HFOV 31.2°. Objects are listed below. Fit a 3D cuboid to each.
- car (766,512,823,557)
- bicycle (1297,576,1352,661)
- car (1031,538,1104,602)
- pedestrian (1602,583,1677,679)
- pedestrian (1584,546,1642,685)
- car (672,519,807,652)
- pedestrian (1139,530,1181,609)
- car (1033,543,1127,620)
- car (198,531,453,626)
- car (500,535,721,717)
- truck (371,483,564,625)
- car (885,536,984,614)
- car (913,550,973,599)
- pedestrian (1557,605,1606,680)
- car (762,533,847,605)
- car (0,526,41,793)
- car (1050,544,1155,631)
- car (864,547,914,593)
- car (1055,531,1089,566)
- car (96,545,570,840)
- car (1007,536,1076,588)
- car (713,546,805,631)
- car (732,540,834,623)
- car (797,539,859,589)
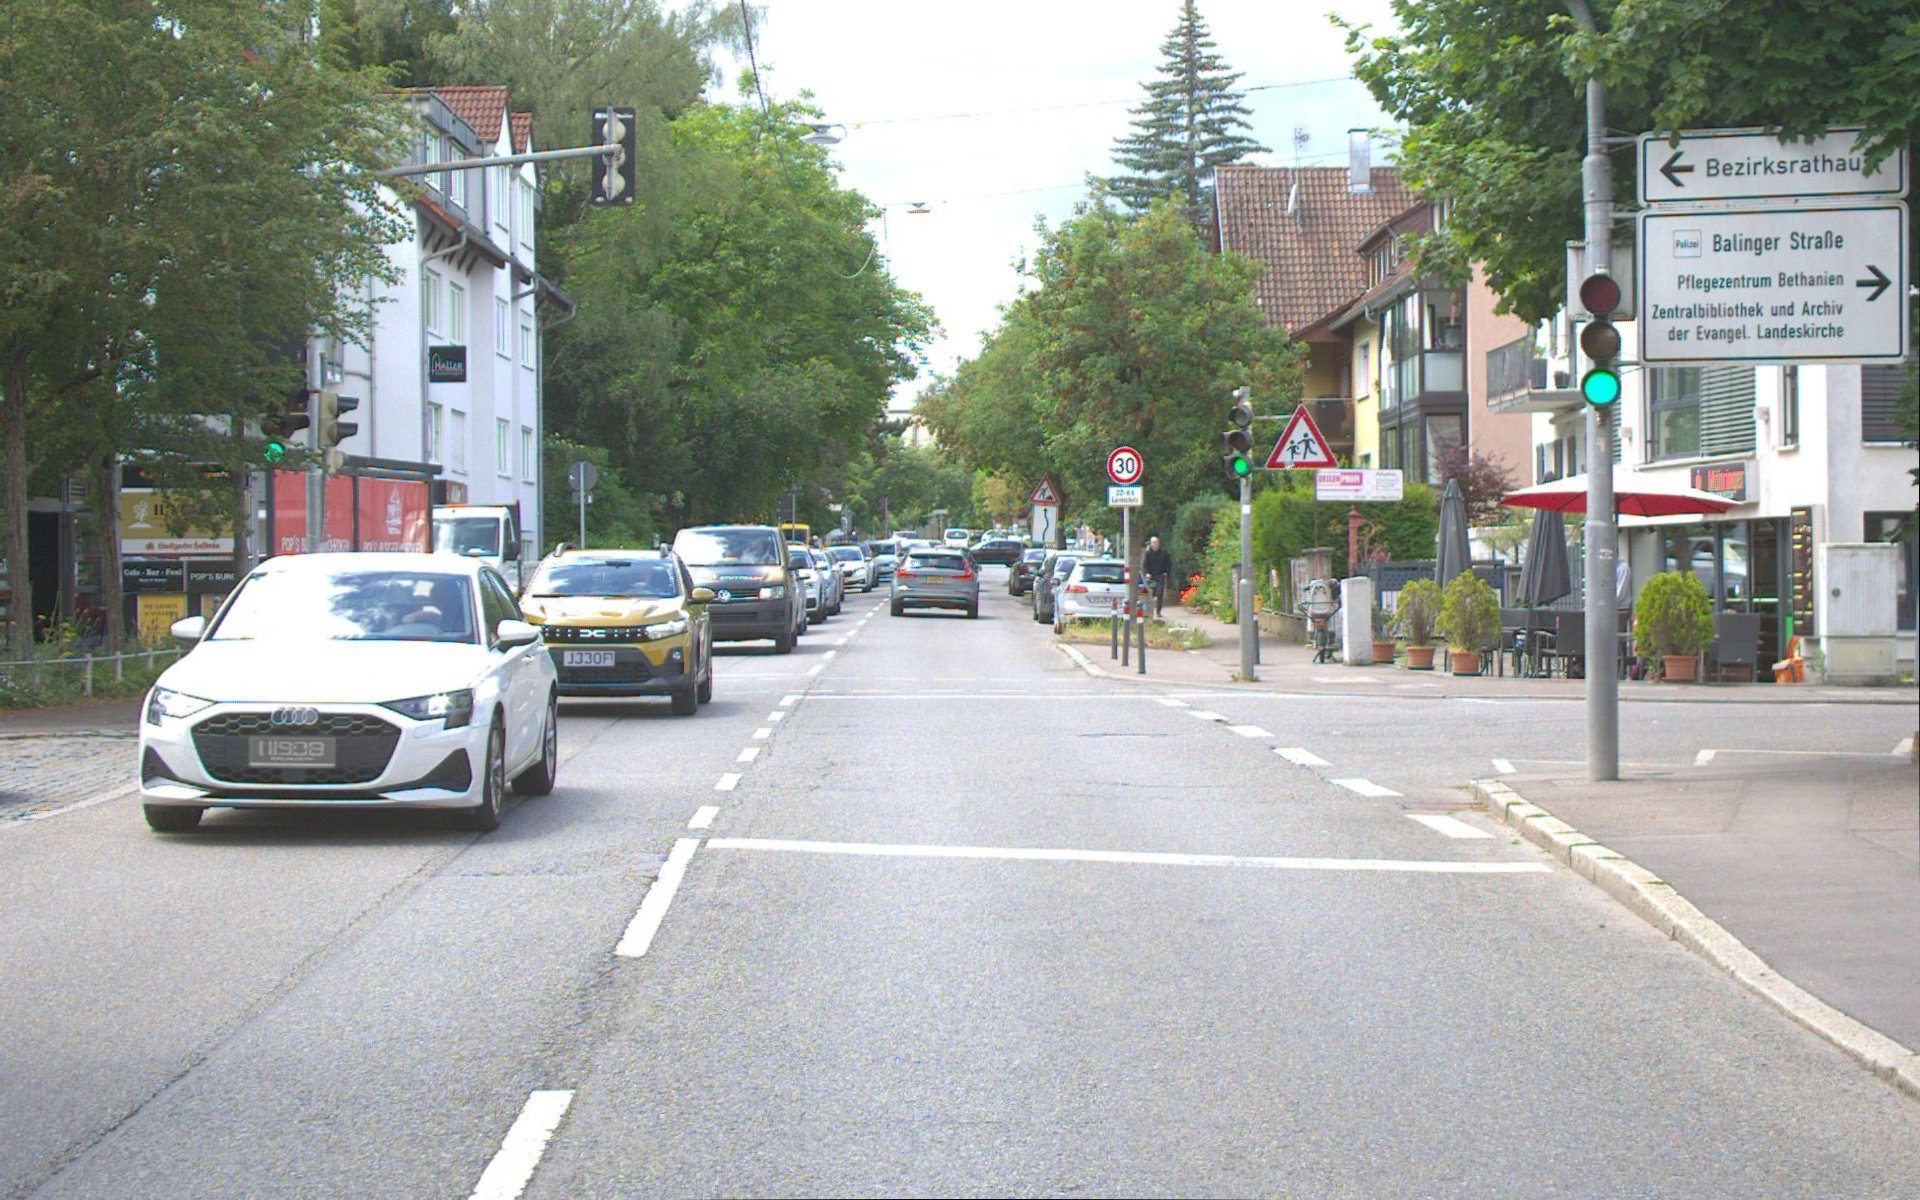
[{"bbox_3d":[-7.523,-2.970,157.047,2.146,1.974,4.930,0,0,3],"label":"car"},{"bbox_3d":[5.057,0.245,47.824,0.721,1.146,2.213,0,0,5],"label":"bicycle"},{"bbox_3d":[2.589,-0.742,83.390,1.621,1.502,3.779,0,1,0],"label":"car"},{"bbox_3d":[7.736,0.349,39.137,0.566,1.085,0.634,0,0,-25],"label":"pedestrian"},{"bbox_3d":[8.305,0.197,43.743,0.427,1.756,0.676,0,0,-21],"label":"pedestrian"},{"bbox_3d":[-3.281,-0.255,51.880,1.877,1.906,4.752,0,1,-2],"label":"car"},{"bbox_3d":[4.345,-0.661,74.633,0.880,1.706,0.842,0,0,1],"label":"pedestrian"},{"bbox_3d":[2.481,-0.415,72.086,1.734,1.424,4.883,3,1,0],"label":"car"},{"bbox_3d":[-9.808,-0.340,53.349,3.692,1.420,1.805,0,1,-4],"label":"car"},{"bbox_3d":[-3.179,0.191,31.910,1.728,1.532,4.001,0,2,-1],"label":"car"},{"bbox_3d":[-8.600,-0.797,60.650,2.224,2.372,6.325,0,0,3],"label":"truck"},{"bbox_3d":[-0.518,-0.558,73.892,1.976,1.508,4.267,3,1,0],"label":"car"},{"bbox_3d":[-0.532,-0.837,110.484,1.816,1.495,4.267,1,1,1],"label":"car"},{"bbox_3d":[7.858,0.532,43.477,0.418,0.935,0.498,0,0,-21],"label":"pedestrian"},{"bbox_3d":[-3.455,-0.718,77.102,1.728,1.497,4.376,-2,1,-1],"label":"car"},{"bbox_3d":[-7.569,0.330,19.537,4.211,1.508,1.822,0,2,0],"label":"car"},{"bbox_3d":[2.591,-0.265,63.565,1.701,1.475,4.872,1,1,0],"label":"car"},{"bbox_3d":[-2.767,-1.184,134.393,1.786,1.642,4.491,-2,1,0],"label":"car"},{"bbox_3d":[6.564,-3.034,202.218,1.993,2.007,4.000,0,0,2],"label":"car"},{"bbox_3d":[-3.281,0.418,18.760,1.874,1.419,4.115,0,1,-1],"label":"car"},{"bbox_3d":[2.403,-1.145,102.342,1.801,1.440,4.887,2,1,-1],"label":"car"},{"bbox_3d":[-3.619,-0.238,62.280,1.617,1.481,3.813,0,1,-3],"label":"car"},{"bbox_3d":[-3.543,-0.402,69.505,1.806,1.566,4.159,-2,1,0],"label":"car"},{"bbox_3d":[-4.070,-1.130,106.556,1.760,1.434,3.971,-2,2,0],"label":"car"}]
